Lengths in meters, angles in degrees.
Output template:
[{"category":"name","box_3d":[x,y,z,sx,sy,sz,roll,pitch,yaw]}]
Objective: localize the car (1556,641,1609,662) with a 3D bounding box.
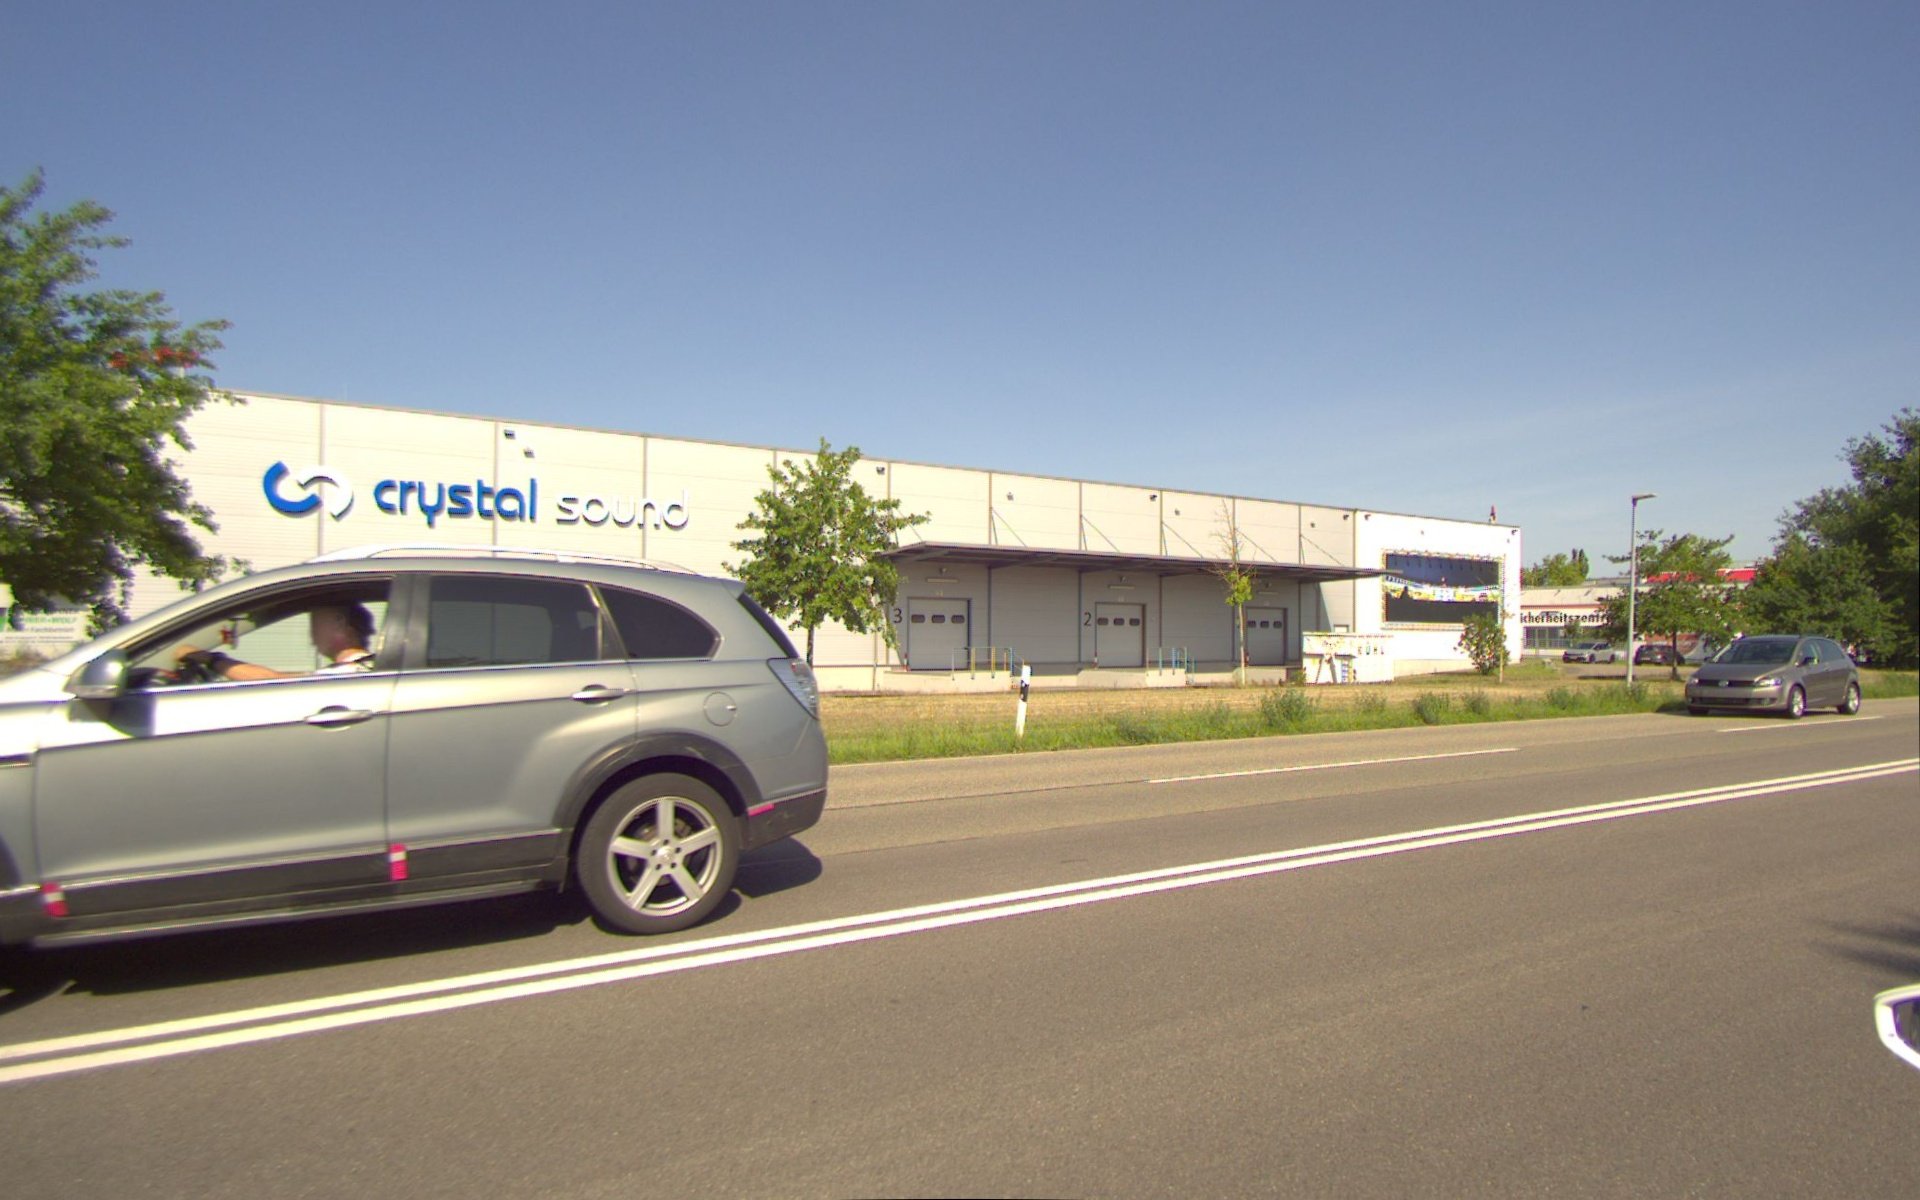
[{"category":"car","box_3d":[43.221,3.543,69.730,3.680,1.429,1.628,2,-2,-31]}]

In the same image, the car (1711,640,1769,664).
[{"category":"car","box_3d":[52.884,3.510,68.185,1.705,1.520,4.002,0,-2,16]}]

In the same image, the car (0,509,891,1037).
[{"category":"car","box_3d":[-2.720,0.637,4.653,4.519,1.736,1.762,1,-4,-32]}]

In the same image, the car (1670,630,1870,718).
[{"category":"car","box_3d":[16.113,1.427,19.956,4.166,1.581,1.721,1,-4,-31]}]

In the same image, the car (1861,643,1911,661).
[{"category":"car","box_3d":[72.971,4.073,79.166,4.613,1.367,1.777,2,-3,-33]}]

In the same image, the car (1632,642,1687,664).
[{"category":"car","box_3d":[45.784,3.449,65.718,3.680,1.408,1.628,2,-2,-31]}]
